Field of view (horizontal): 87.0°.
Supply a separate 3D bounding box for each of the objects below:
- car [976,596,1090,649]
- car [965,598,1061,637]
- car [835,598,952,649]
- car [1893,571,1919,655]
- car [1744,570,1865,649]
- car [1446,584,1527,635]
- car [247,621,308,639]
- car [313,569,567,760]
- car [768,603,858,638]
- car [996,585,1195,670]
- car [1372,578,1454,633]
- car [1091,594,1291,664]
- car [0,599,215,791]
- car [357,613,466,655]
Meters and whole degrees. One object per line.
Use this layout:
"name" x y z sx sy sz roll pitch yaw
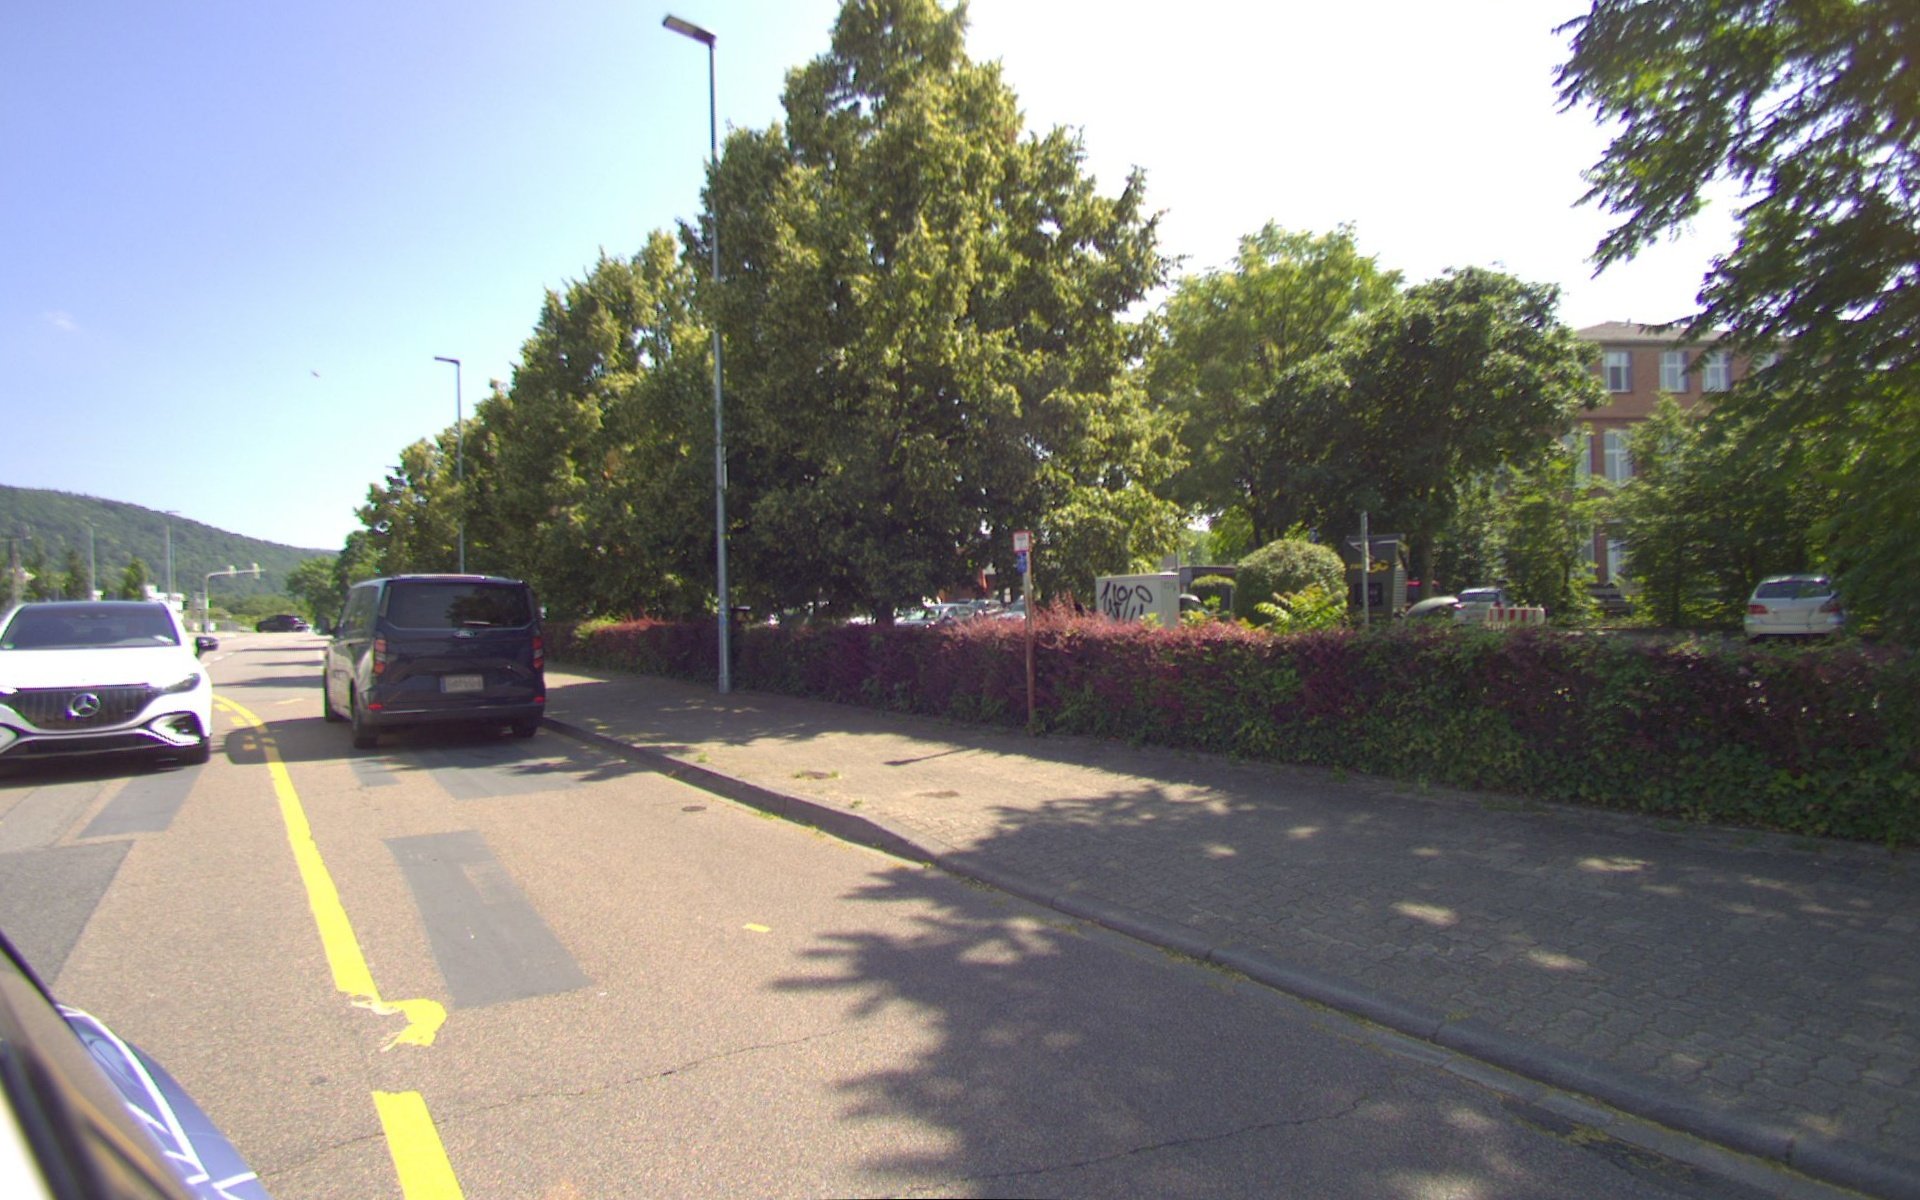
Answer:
"car" 2.579 0.739 34.902 1.859 1.698 4.313 -2 -1 37
"car" 2.503 0.841 48.651 4.364 1.698 1.837 -2 2 41
"car" -2.363 0.818 36.714 1.860 1.698 4.257 -2 -1 38
"car" 19.596 0.175 19.777 3.942 1.481 1.775 -3 0 -45
"car" 19.031 0.175 22.752 1.774 1.584 3.943 -3 0 44
"car" 17.439 0.289 33.426 1.770 1.487 3.952 -3 -1 36
"car" -64.007 2.785 94.937 4.470 1.657 1.997 -1 -1 5
"car" -7.055 0.727 13.353 2.148 1.983 5.457 1 -2 -36
"car" -6.951 0.981 47.685 4.137 1.564 1.896 -2 0 39
"car" 2.899 0.599 22.557 1.832 1.699 4.376 1 -2 -38
"car" 16.550 0.180 36.863 1.771 1.747 3.950 -5 -1 37
"car" 5.254 0.661 23.549 1.832 1.464 4.376 1 -2 -38
"car" -9.428 0.873 11.077 1.968 1.657 5.042 0 -1 -37
"car" -23.321 1.407 43.072 3.933 1.475 1.886 -4 1 -31
